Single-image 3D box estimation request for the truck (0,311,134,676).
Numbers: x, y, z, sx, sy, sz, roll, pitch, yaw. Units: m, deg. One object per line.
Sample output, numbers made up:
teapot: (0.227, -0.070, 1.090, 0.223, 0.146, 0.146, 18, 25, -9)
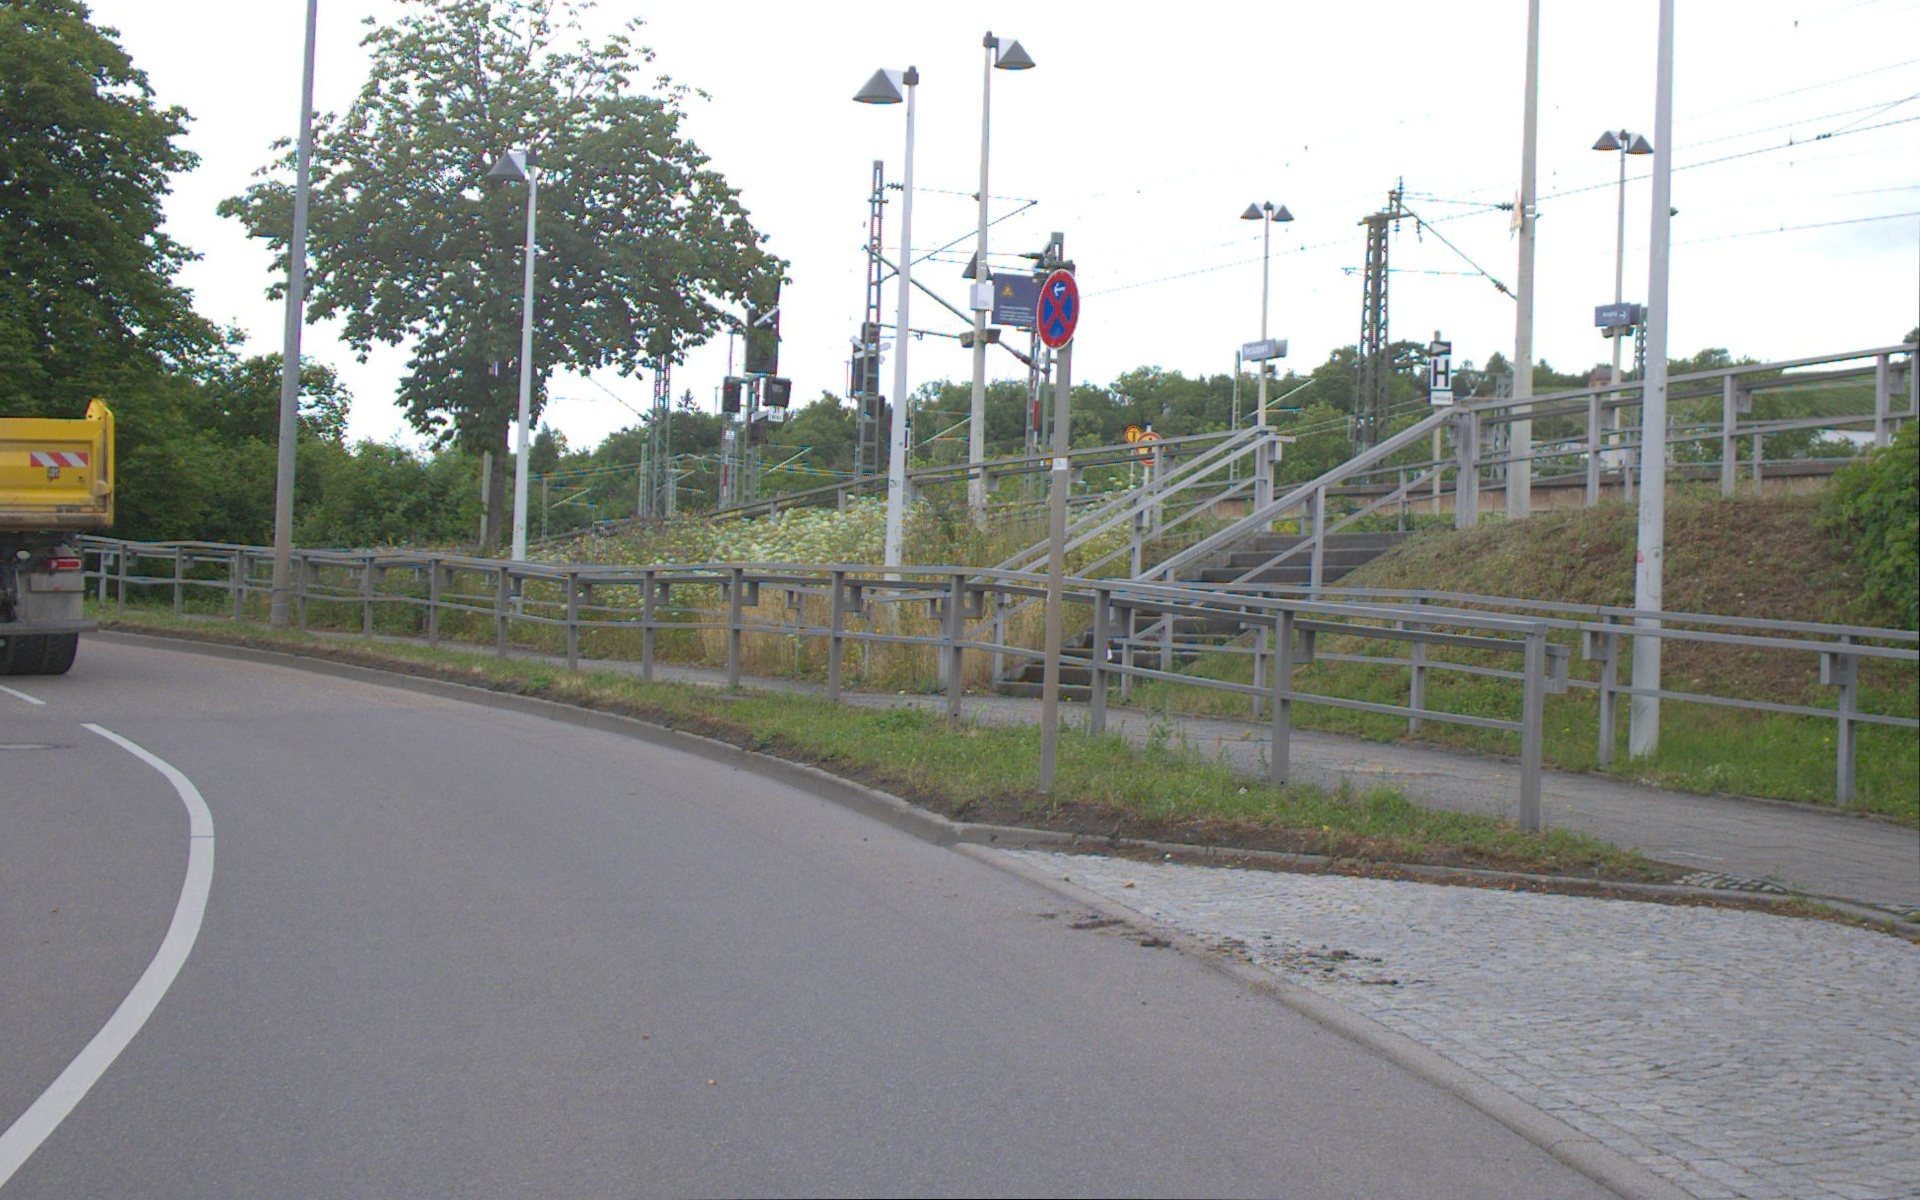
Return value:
truck: (-11.283, -1.170, 36.172, 2.764, 3.471, 8.130, 0, 2, -30)
